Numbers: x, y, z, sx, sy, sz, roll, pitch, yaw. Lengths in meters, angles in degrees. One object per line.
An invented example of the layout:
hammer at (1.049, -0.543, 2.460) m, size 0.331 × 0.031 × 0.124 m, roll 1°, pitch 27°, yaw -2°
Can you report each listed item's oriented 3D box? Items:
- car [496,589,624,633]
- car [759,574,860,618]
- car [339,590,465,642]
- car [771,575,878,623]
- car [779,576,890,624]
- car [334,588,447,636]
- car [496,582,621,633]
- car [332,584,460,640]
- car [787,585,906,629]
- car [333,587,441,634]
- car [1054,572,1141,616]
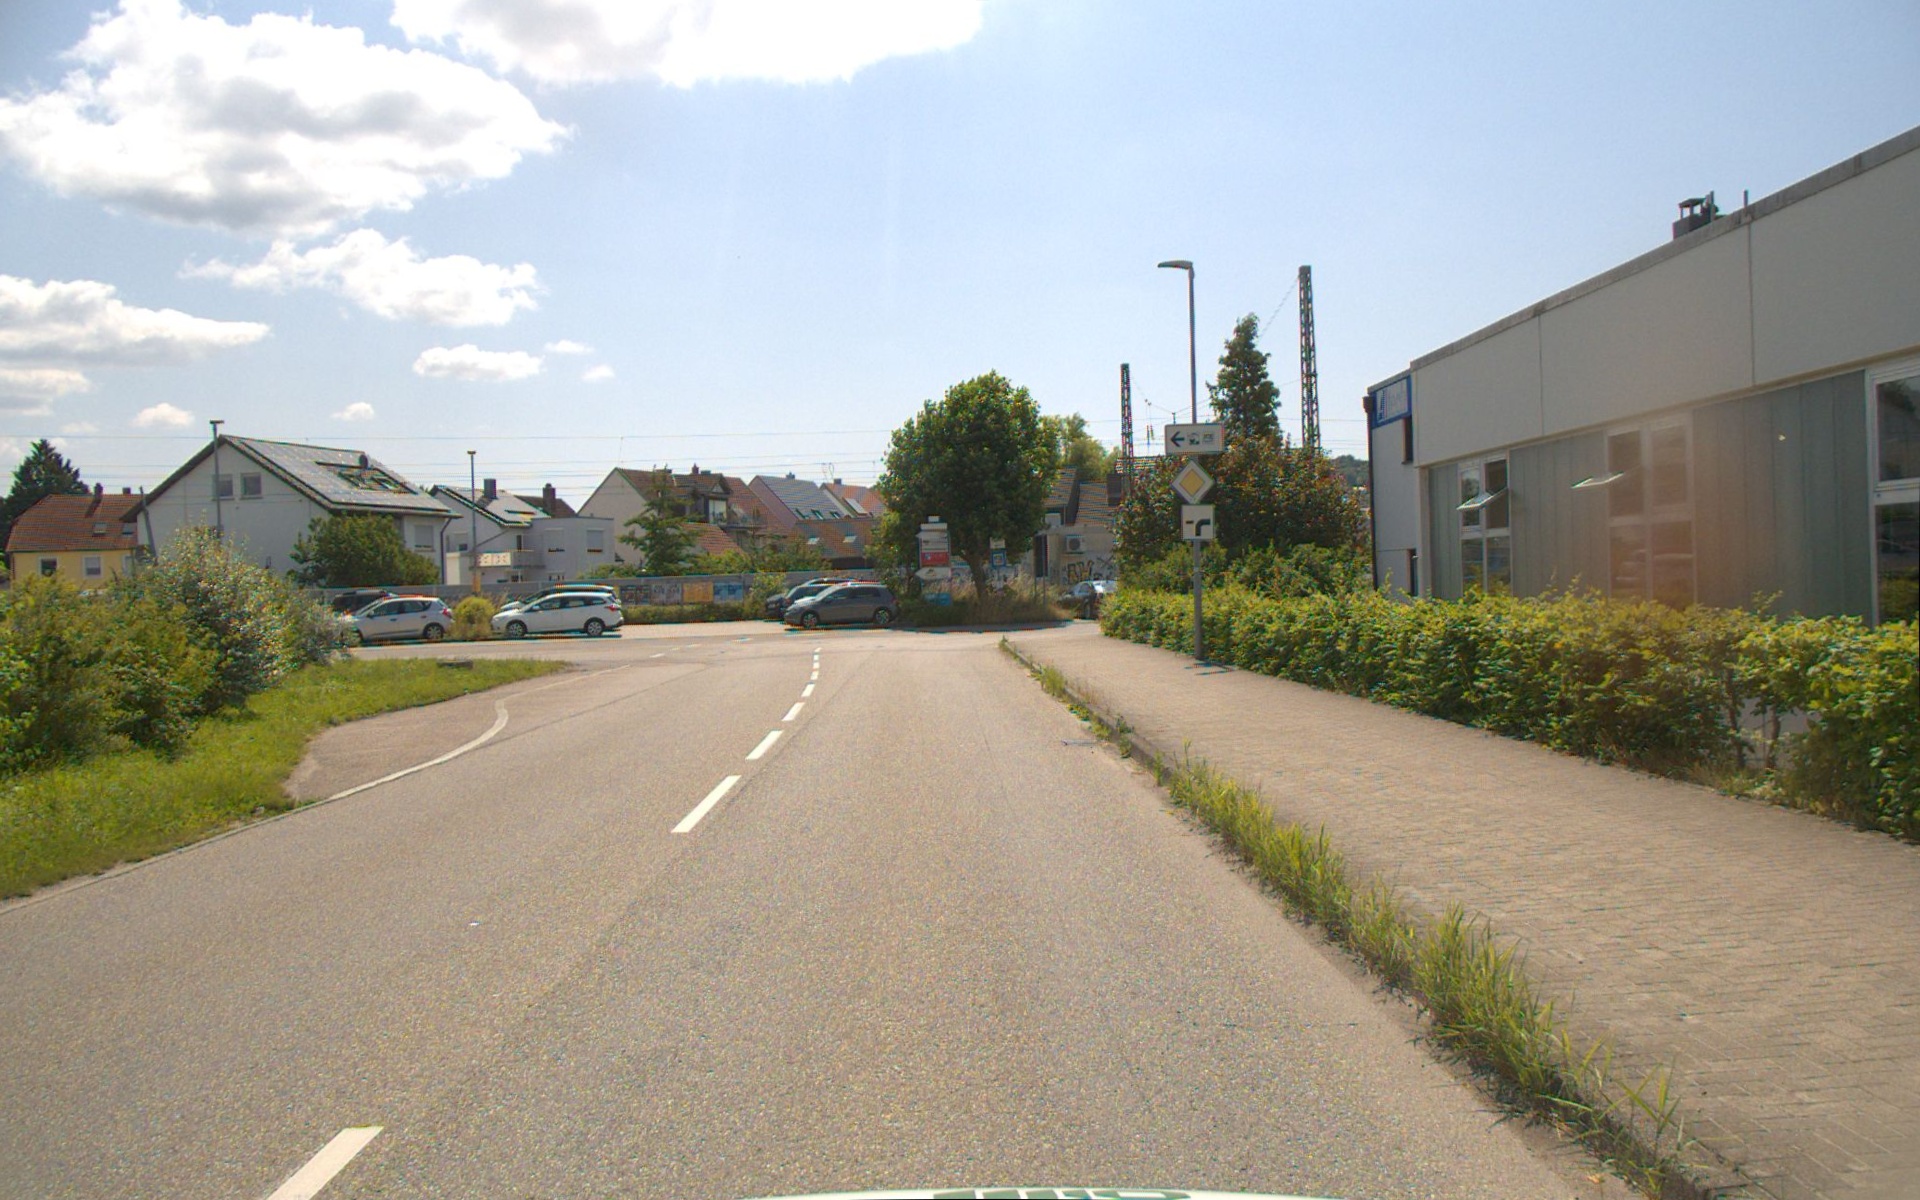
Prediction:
car at (-13.774, 0.375, 57.092) m, size 4.210 × 1.502 × 1.821 m, roll 0°, pitch 0°, yaw -14°
car at (-6.079, -0.155, 66.675) m, size 3.916 × 1.760 × 1.765 m, roll 0°, pitch 0°, yaw -11°
car at (-18.837, 0.525, 55.924) m, size 3.941 × 1.589 × 1.812 m, roll -2°, pitch 0°, yaw -20°
car at (-5.303, -0.057, 64.386) m, size 3.916 × 1.686 × 1.995 m, roll -2°, pitch 1°, yaw -11°
car at (-4.713, 0.004, 61.786) m, size 3.916 × 1.614 × 1.775 m, roll -2°, pitch 0°, yaw -11°
car at (-20.772, 0.418, 60.460) m, size 3.720 × 1.585 × 1.687 m, roll -2°, pitch 1°, yaw -15°
car at (-14.921, 0.249, 61.688) m, size 4.371 × 1.720 × 1.995 m, roll -1°, pitch 2°, yaw -10°
car at (-19.727, 0.413, 58.032) m, size 4.098 × 1.667 × 1.945 m, roll -4°, pitch 1°, yaw -19°
car at (-4.083, 0.242, 59.362) m, size 4.112 × 1.488 × 1.660 m, roll -1°, pitch 0°, yaw -10°
car at (-21.652, 0.372, 62.618) m, size 3.770 × 1.617 × 1.490 m, roll -2°, pitch 1°, yaw -17°
car at (5.196, -0.262, 62.861) m, size 1.727 × 1.410 × 3.976 m, roll -1°, pitch 4°, yaw -21°
